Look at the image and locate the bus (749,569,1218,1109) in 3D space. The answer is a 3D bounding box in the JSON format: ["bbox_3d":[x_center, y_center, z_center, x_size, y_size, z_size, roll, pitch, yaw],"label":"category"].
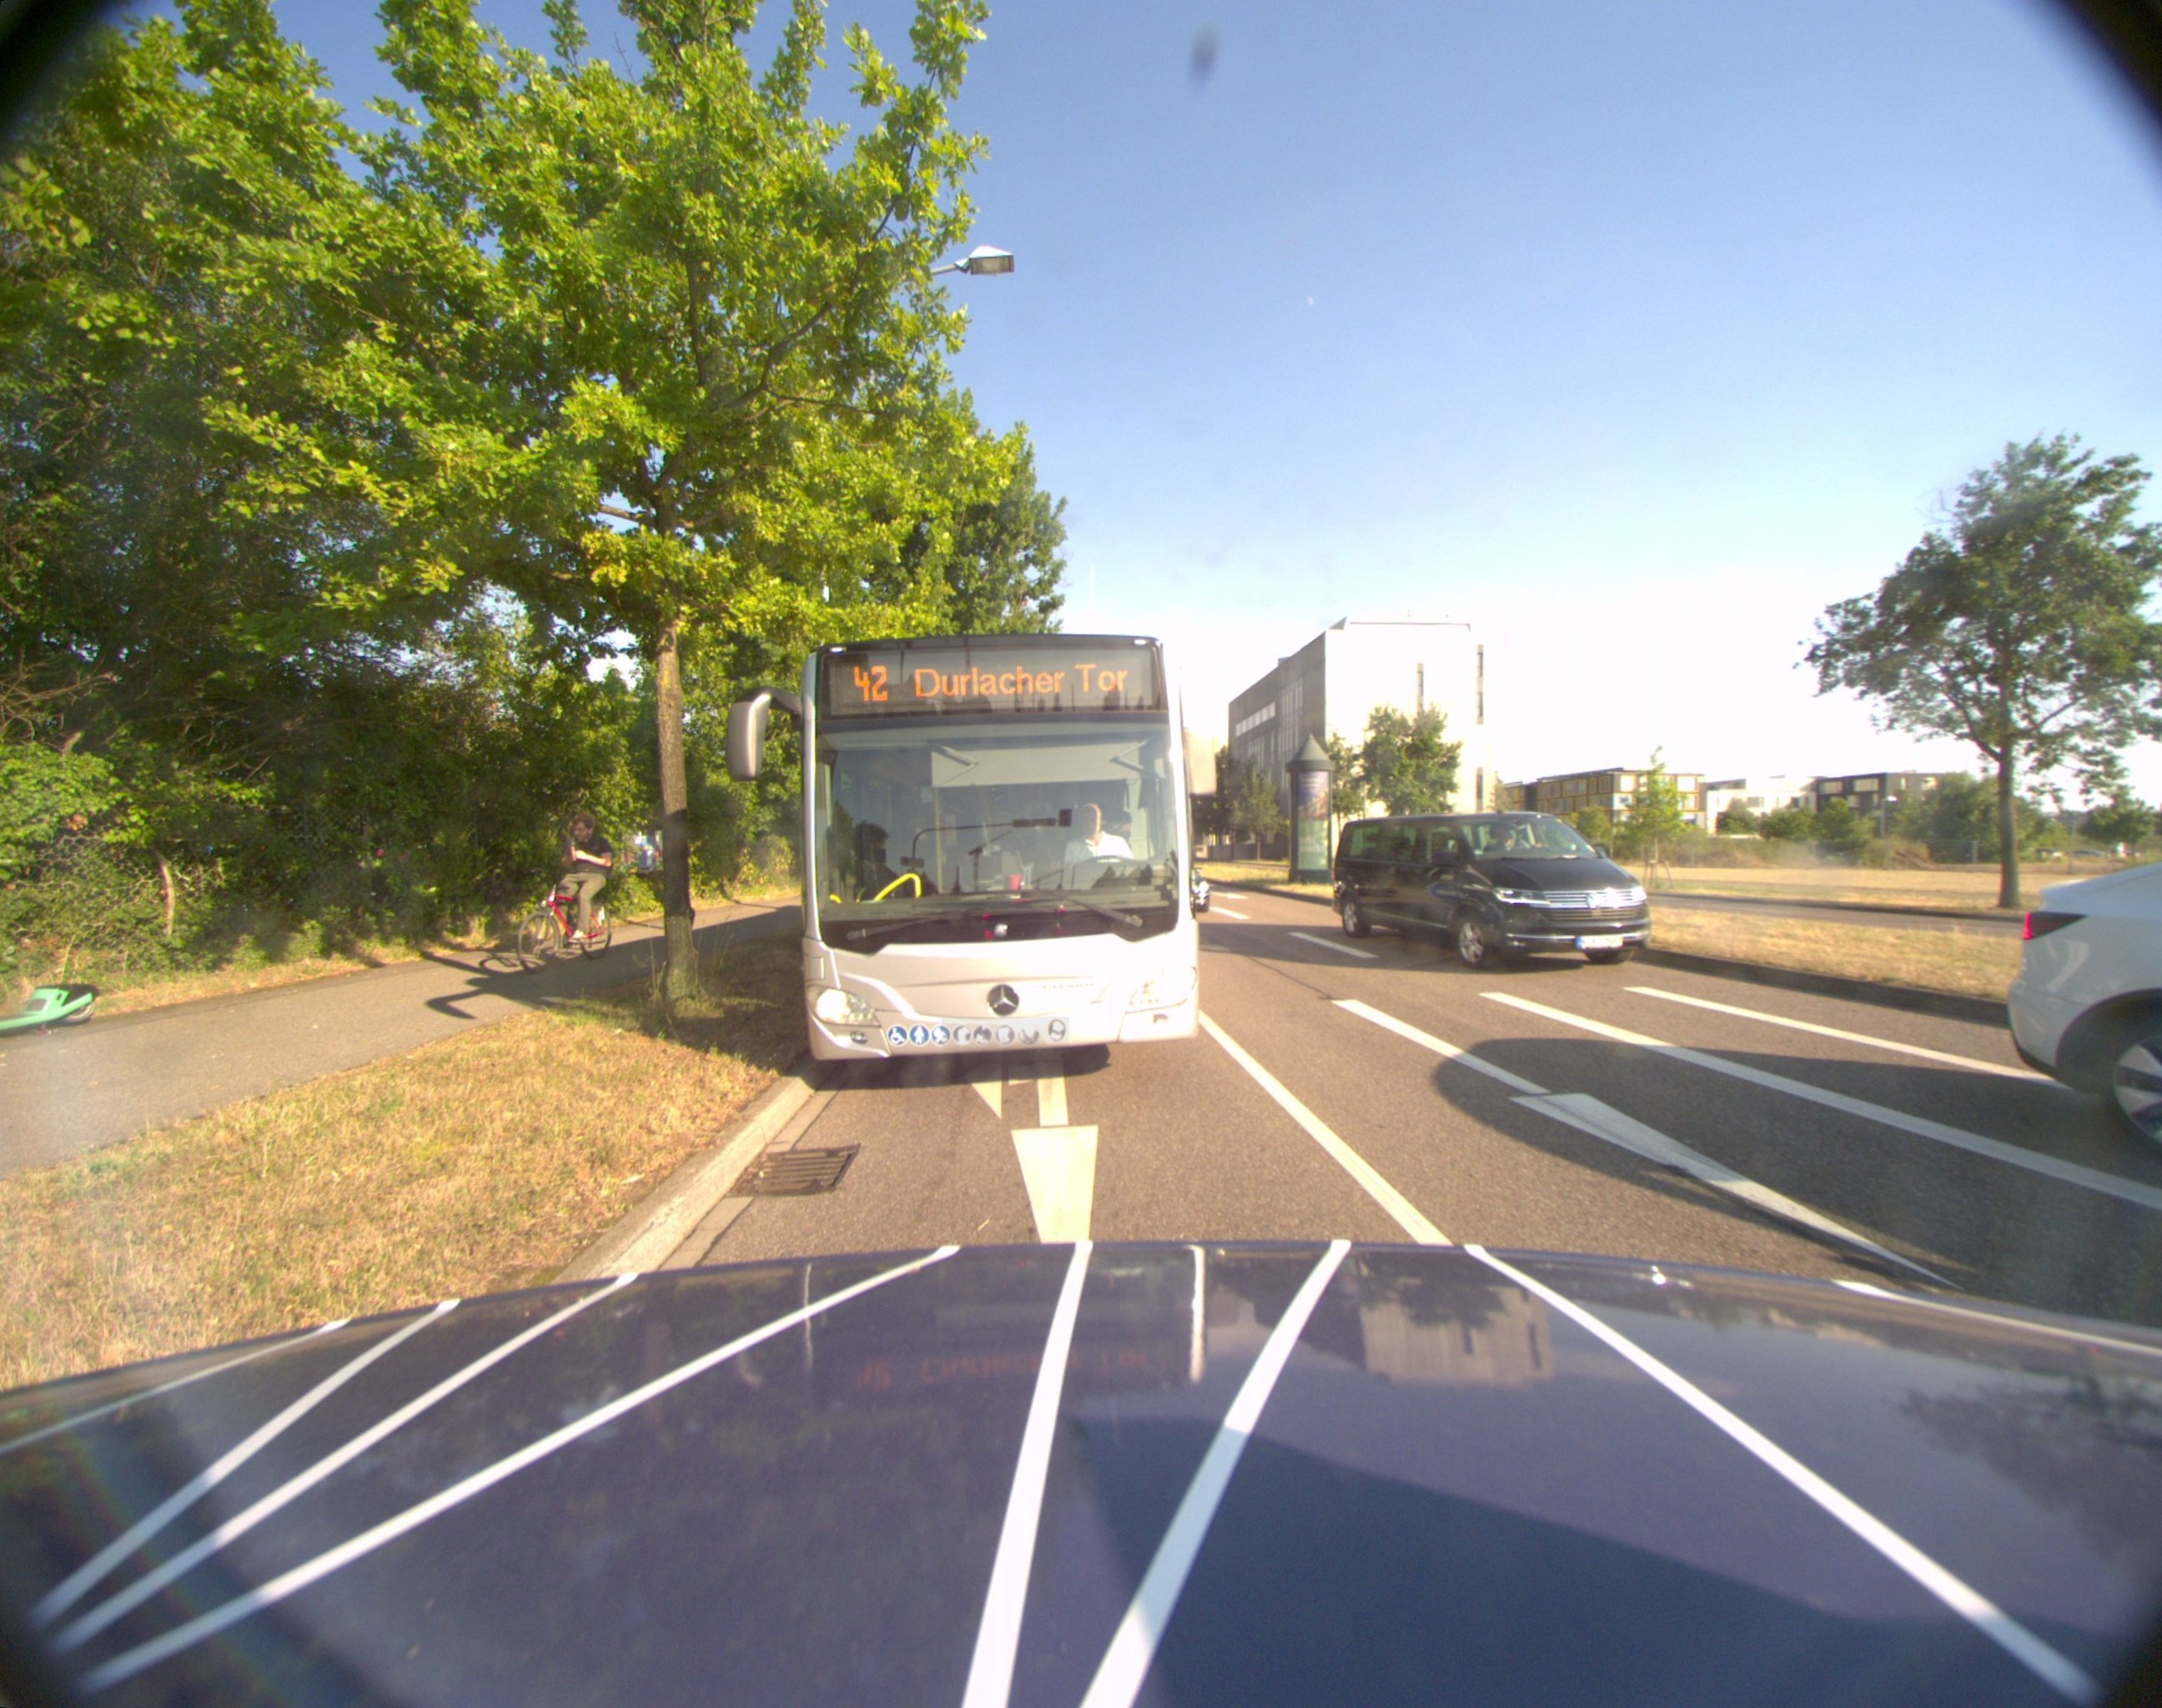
[{"bbox_3d":[-1.014,-0.128,10.207,2.596,3.025,11.713,-1,0,-5],"label":"bus"}]

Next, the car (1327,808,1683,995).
[{"bbox_3d":[5.344,0.473,10.587,1.861,1.921,5.010,-2,1,-4],"label":"car"}]

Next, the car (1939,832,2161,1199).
[{"bbox_3d":[5.664,0.693,1.833,1.740,1.590,4.675,-2,0,-4],"label":"car"}]

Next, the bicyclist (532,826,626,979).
[{"bbox_3d":[-6.244,0.573,9.490,0.620,1.819,0.830,1,1,-2],"label":"bicyclist"}]

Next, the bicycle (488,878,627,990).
[{"bbox_3d":[-6.210,0.894,9.141,0.416,1.151,1.890,2,0,-3],"label":"bicycle"}]

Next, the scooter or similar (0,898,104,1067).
[{"bbox_3d":[-7.547,0.900,5.208,0.249,1.120,1.095,2,1,1],"label":"scooter or similar"}]

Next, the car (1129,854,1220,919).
[{"bbox_3d":[2.211,0.724,19.138,1.810,1.428,4.494,-1,0,1],"label":"car"}]
